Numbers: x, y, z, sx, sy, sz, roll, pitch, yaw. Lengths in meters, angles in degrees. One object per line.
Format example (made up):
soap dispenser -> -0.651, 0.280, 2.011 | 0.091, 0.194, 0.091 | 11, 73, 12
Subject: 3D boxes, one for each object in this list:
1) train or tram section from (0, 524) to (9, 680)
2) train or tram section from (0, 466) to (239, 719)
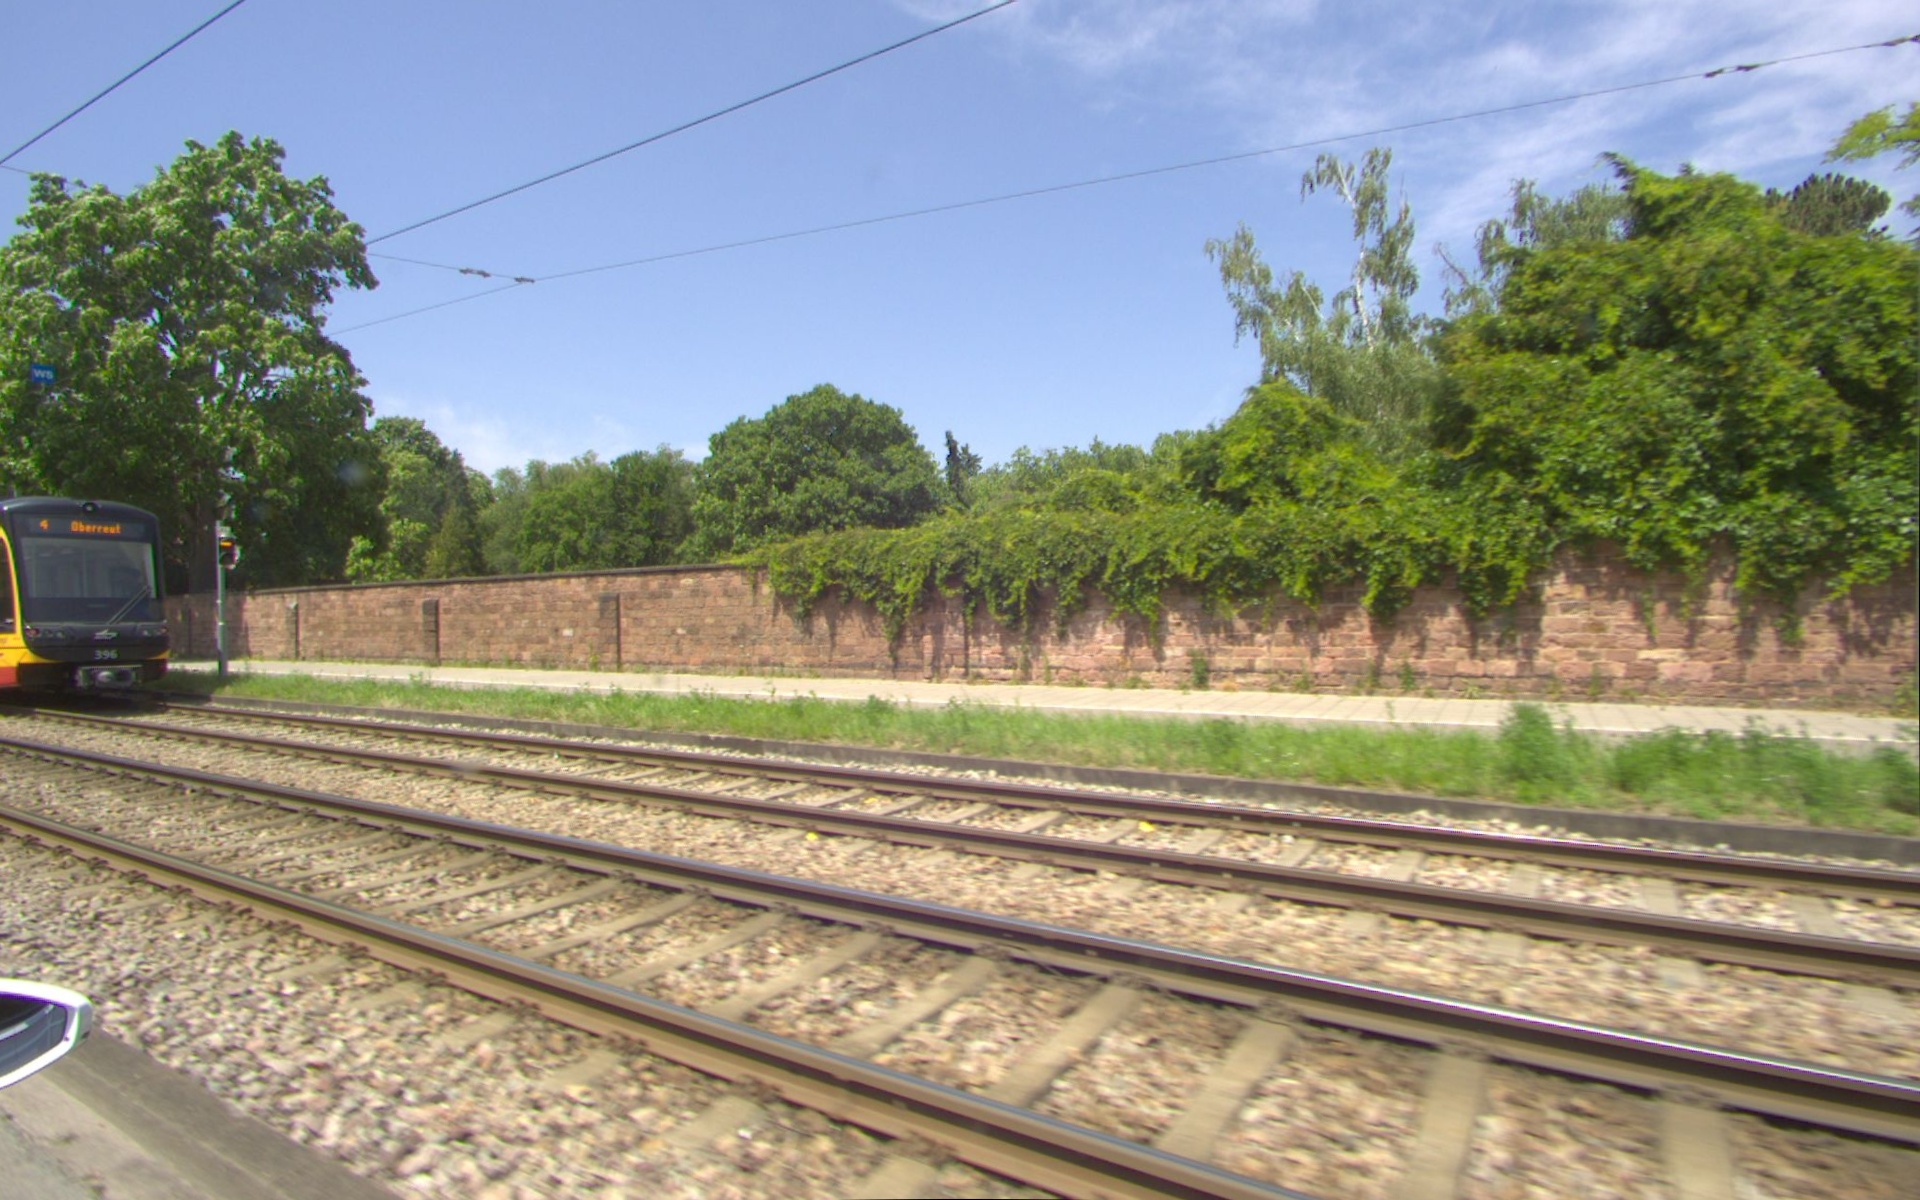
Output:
train or tram section -> -29.753, 0.129, 27.020 | 12.905, 3.848, 3.021 | -1, 0, 33
train or tram section -> -19.043, -0.024, 20.044 | 12.905, 3.848, 3.021 | -1, 0, 33
